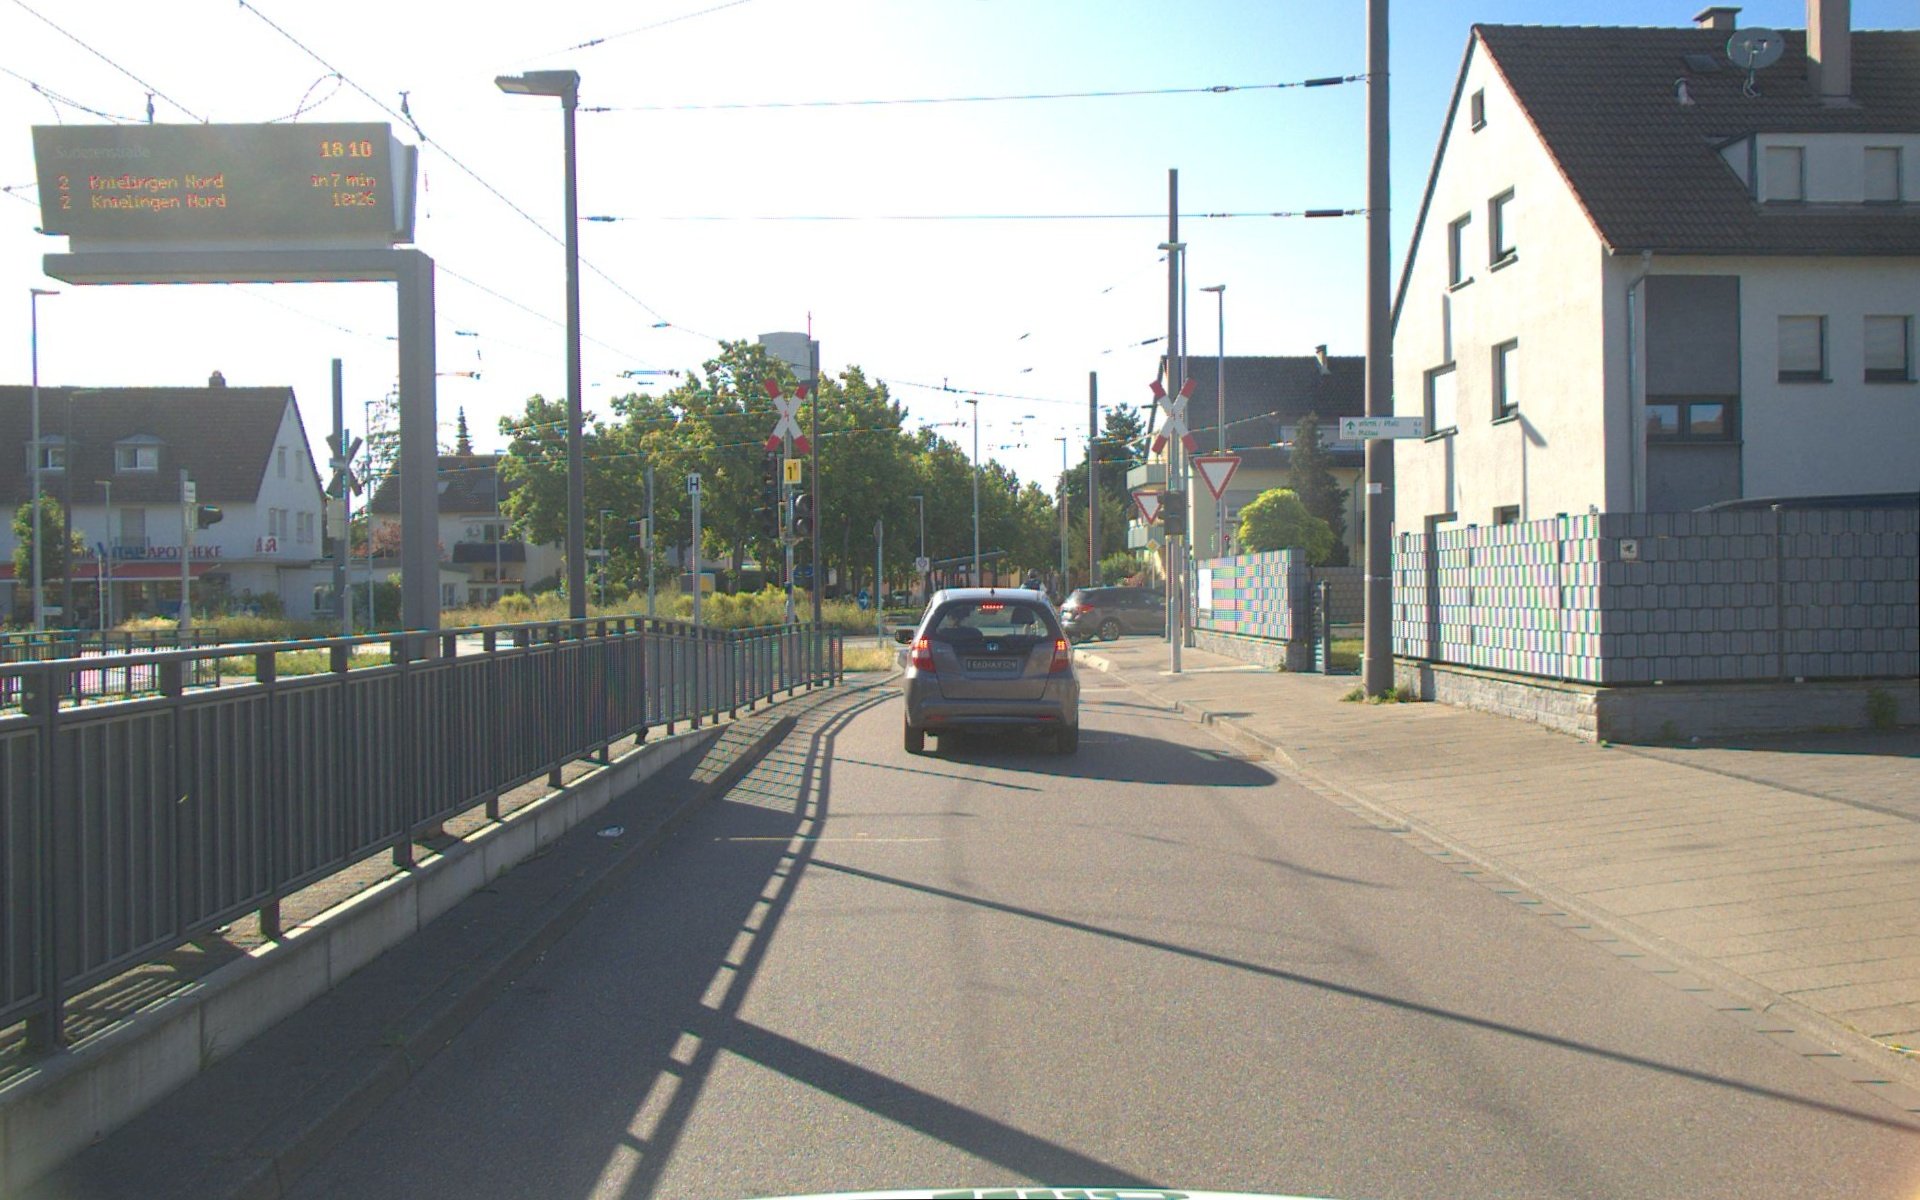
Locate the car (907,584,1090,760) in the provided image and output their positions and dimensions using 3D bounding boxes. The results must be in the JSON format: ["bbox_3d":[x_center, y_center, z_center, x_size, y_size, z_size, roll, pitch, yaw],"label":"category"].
[{"bbox_3d":[0.300,0.636,16.557,1.637,1.562,3.486,0,0,-2],"label":"car"}]

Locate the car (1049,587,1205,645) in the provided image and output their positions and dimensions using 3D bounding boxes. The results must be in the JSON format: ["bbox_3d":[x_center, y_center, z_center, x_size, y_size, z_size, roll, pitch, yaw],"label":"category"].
[{"bbox_3d":[4.623,0.447,45.818,3.928,1.556,1.797,1,0,-20],"label":"car"}]

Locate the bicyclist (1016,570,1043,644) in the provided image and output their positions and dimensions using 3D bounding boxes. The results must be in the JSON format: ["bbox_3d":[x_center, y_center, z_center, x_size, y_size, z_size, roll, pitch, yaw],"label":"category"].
[{"bbox_3d":[1.655,0.169,39.316,0.586,1.731,0.683,1,-1,-1],"label":"bicyclist"}]

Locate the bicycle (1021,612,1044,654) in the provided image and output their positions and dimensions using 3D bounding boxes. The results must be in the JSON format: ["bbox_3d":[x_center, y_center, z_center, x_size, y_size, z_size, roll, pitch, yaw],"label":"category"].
[{"bbox_3d":[1.724,0.769,39.427,0.465,0.978,1.657,1,0,-1],"label":"bicycle"}]
